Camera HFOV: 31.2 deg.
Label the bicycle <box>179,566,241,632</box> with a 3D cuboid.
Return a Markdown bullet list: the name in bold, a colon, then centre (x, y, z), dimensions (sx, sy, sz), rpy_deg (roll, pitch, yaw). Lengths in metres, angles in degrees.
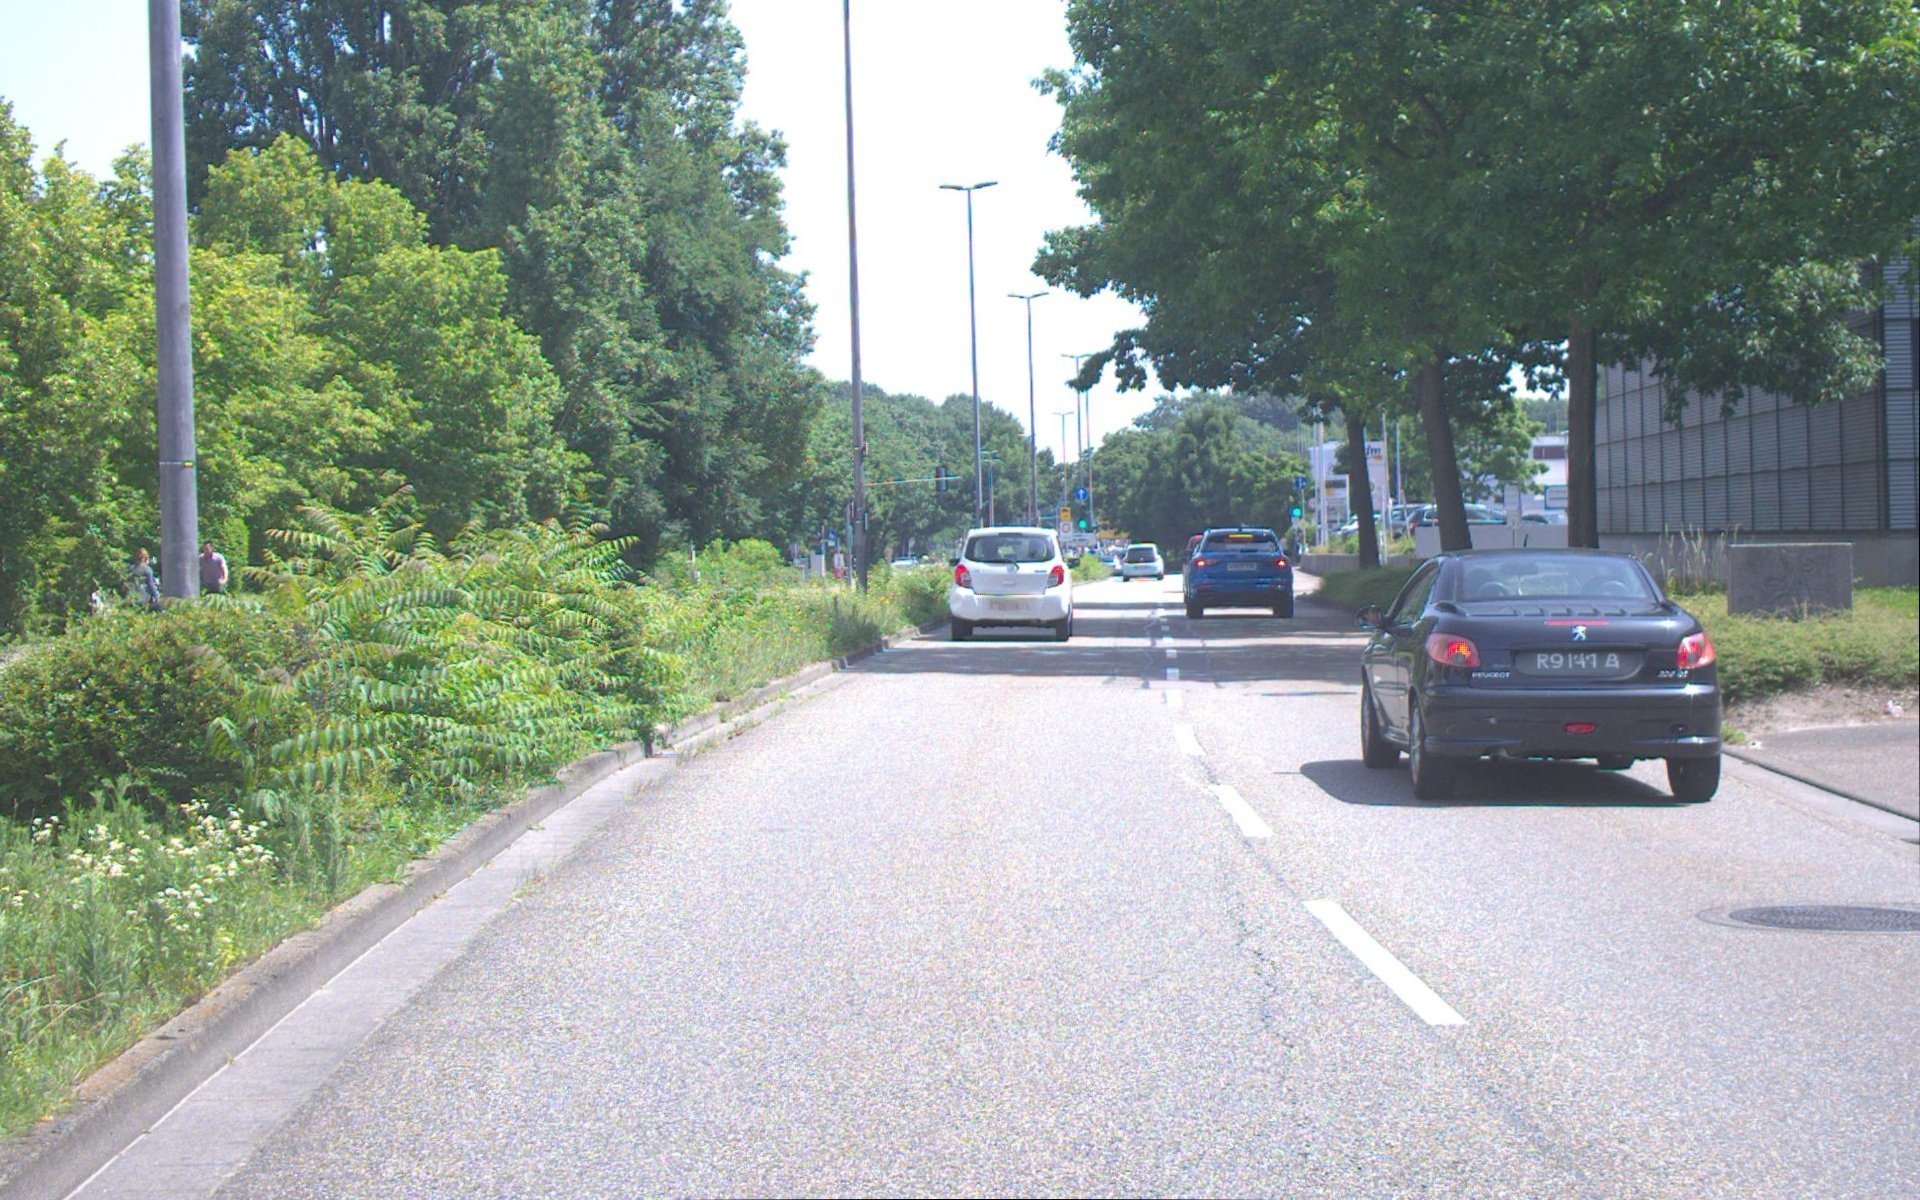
- **bicycle**: centre (-12.559, -0.027, 57.594), dimensions (0.551, 1.069, 2.063), rpy_deg (-1, 1, 0)

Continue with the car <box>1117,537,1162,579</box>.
- **car**: centre (7.590, -1.795, 145.452), dimensions (1.819, 1.656, 4.000), rpy_deg (-2, 1, 2)

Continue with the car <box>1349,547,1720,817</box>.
- **car**: centre (3.218, 0.402, 19.850), dimensions (1.627, 1.359, 3.605), rpy_deg (0, 2, 2)

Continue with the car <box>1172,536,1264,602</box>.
- **car**: centre (5.997, -0.728, 80.342), dimensions (1.994, 1.437, 4.000), rpy_deg (-2, 1, 3)

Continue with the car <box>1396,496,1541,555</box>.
- **car**: centre (15.181, -2.235, 102.766), dimensions (3.987, 1.613, 2.000), rpy_deg (-2, 1, 0)

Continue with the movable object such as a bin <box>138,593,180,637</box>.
- **movable object such as a bin**: centre (-13.445, 0.248, 57.691), dimensions (0.428, 0.703, 0.652), rpy_deg (-2, 1, 12)

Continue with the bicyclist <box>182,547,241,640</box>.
- **bicyclist**: centre (-12.516, -0.116, 57.506), dimensions (0.717, 1.511, 1.027), rpy_deg (-2, 1, 0)

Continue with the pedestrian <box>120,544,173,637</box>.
- **pedestrian**: centre (-13.747, -0.172, 58.129), dimensions (0.633, 1.539, 0.727), rpy_deg (-2, 1, 3)

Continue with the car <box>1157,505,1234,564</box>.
- **car**: centre (7.250, -2.035, 105.951), dimensions (1.993, 1.722, 4.000), rpy_deg (-2, 1, -1)

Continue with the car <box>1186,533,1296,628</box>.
- **car**: centre (5.044, -0.371, 61.387), dimensions (1.828, 1.575, 3.605), rpy_deg (-2, 1, 6)

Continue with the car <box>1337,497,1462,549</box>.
- **car**: centre (15.668, -2.749, 122.697), dimensions (4.227, 1.641, 2.000), rpy_deg (-2, 1, 3)

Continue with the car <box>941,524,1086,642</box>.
- **car**: centre (0.782, -0.264, 47.497), dimensions (1.748, 1.515, 3.745), rpy_deg (0, 2, 5)

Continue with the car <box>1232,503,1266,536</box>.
- **car**: centre (18.304, -5.122, 217.972), dimensions (1.770, 2.006, 3.991), rpy_deg (-2, 1, 0)

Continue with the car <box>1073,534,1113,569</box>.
- **car**: centre (6.952, -2.548, 179.454), dimensions (1.819, 1.656, 4.001), rpy_deg (-2, 2, -1)

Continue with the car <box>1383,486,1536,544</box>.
- **car**: centre (15.592, -2.647, 107.395), dimensions (4.499, 1.577, 2.000), rpy_deg (-2, 1, 3)
